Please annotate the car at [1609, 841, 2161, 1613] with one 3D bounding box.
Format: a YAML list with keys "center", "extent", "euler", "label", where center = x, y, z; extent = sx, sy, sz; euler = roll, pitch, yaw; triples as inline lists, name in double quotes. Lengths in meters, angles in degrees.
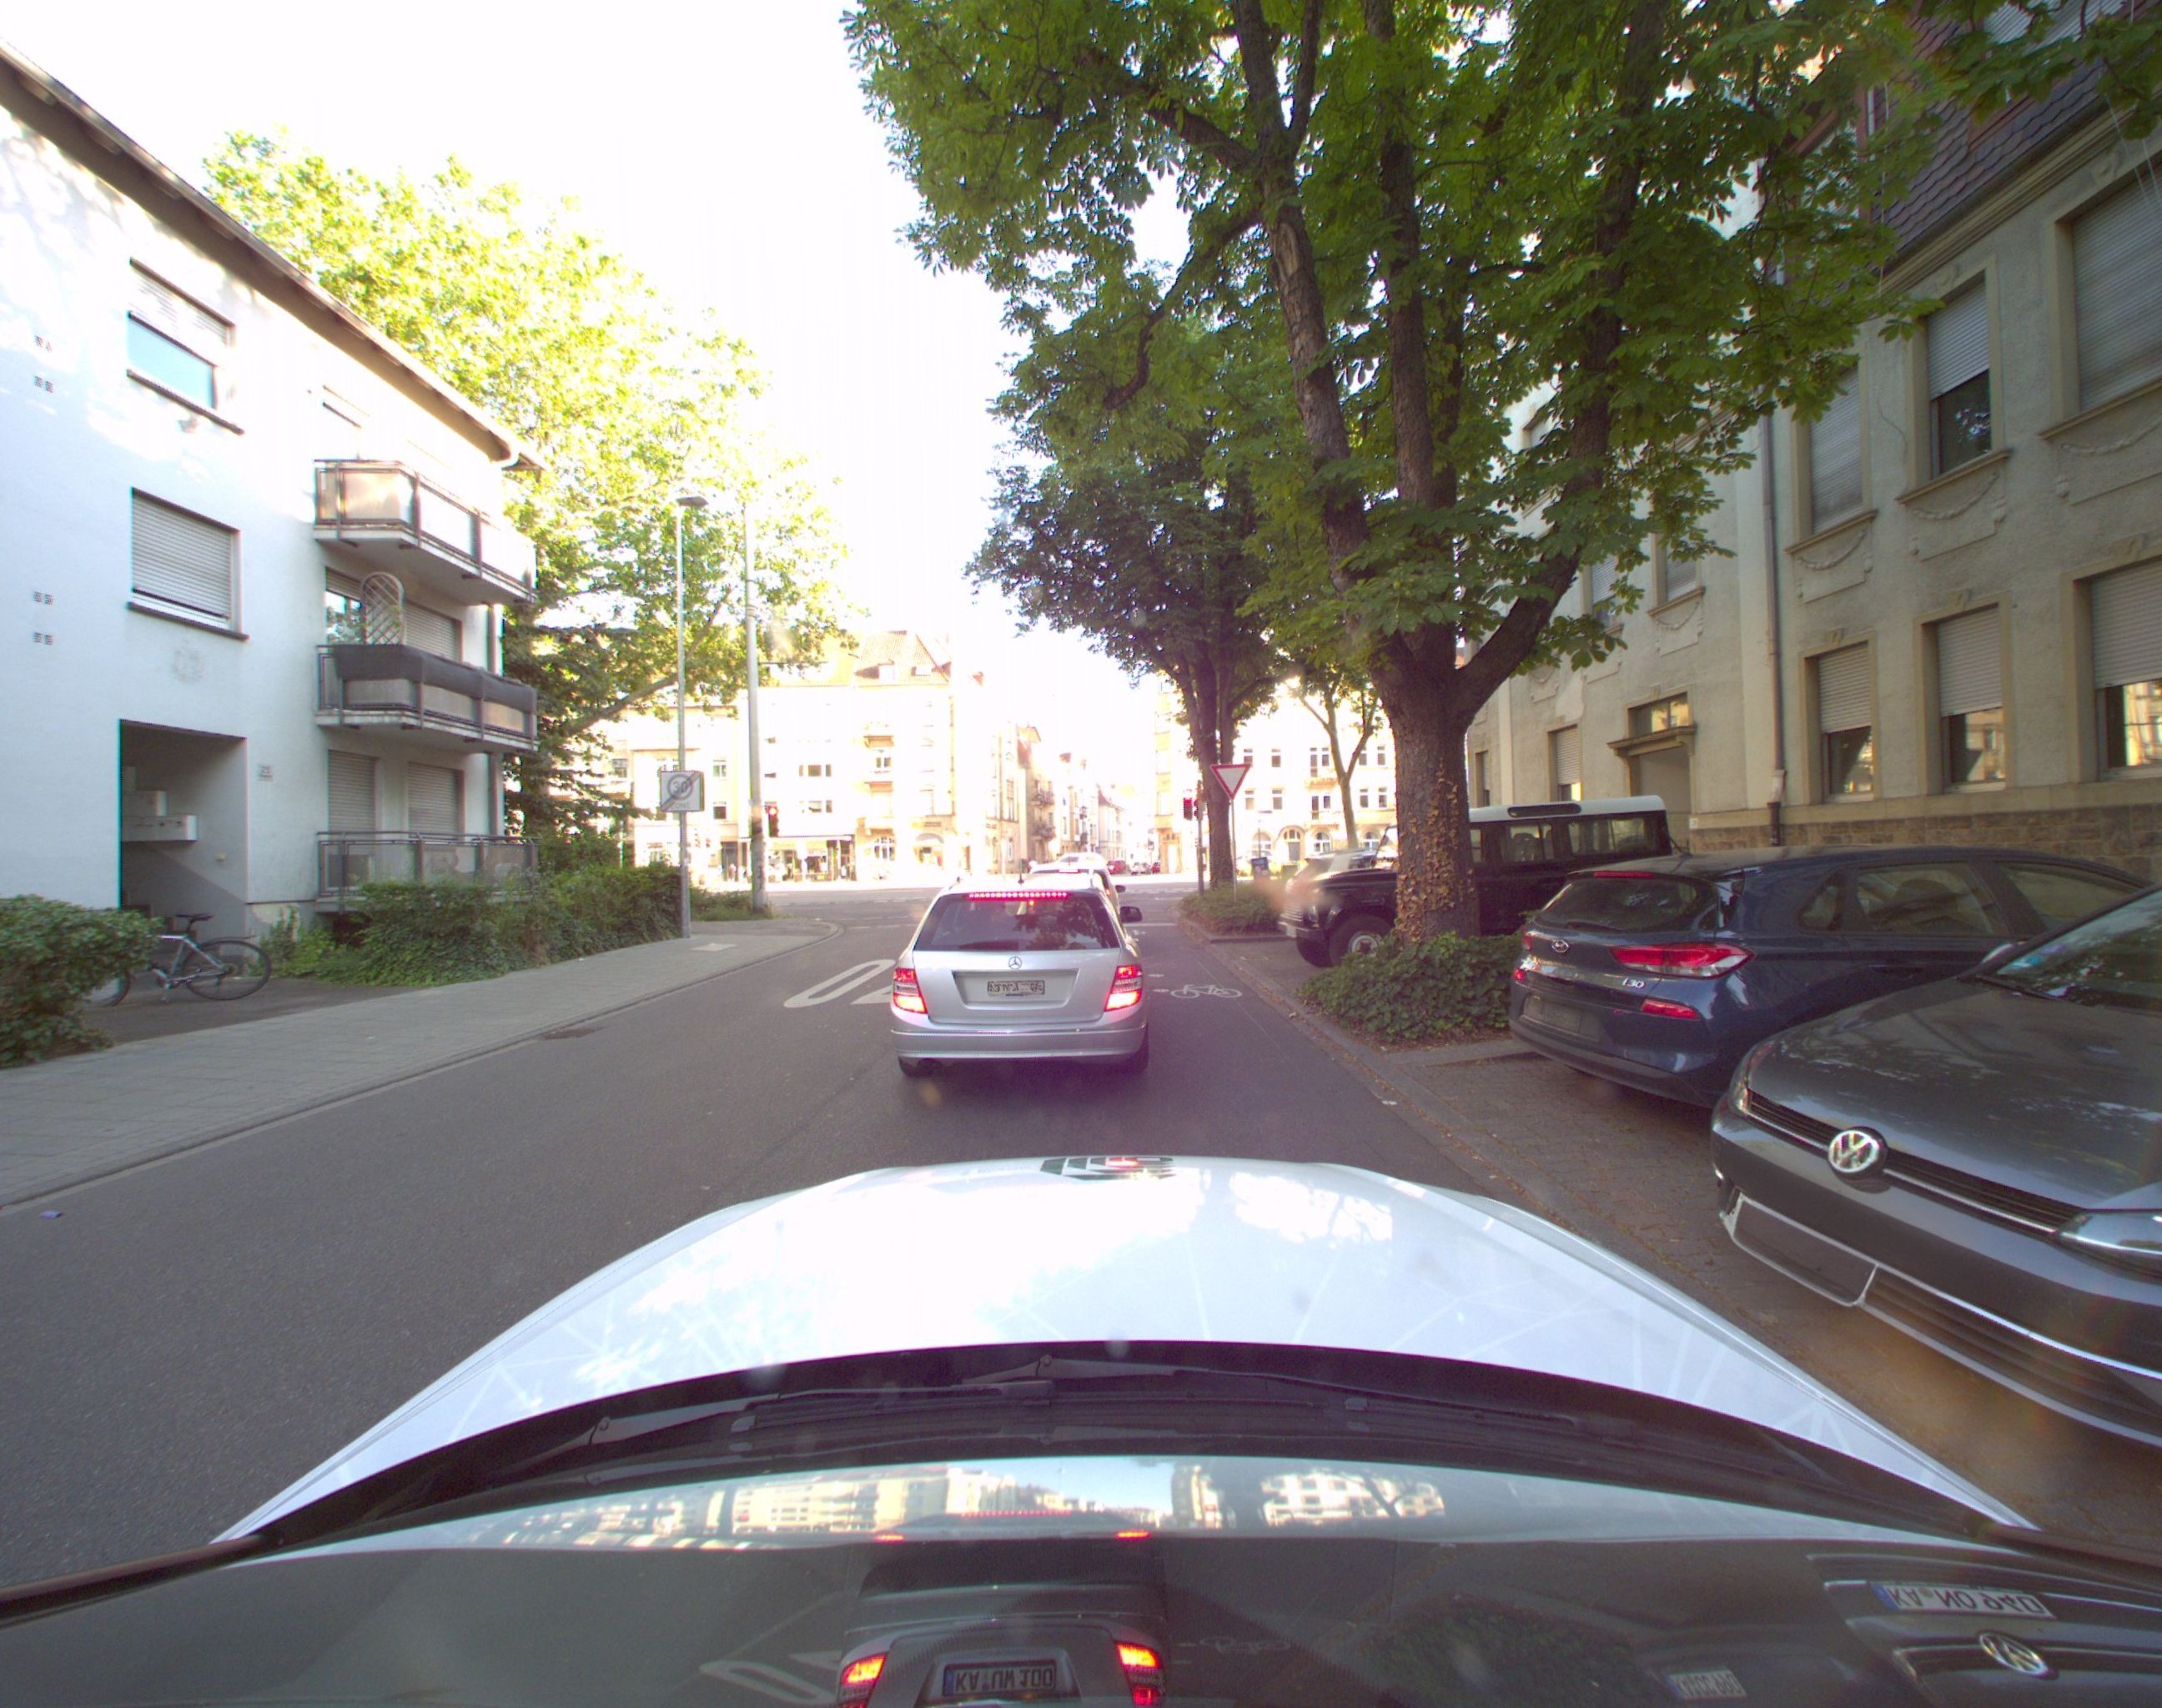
- center: [4.059, 0.656, 2.313]
  extent: [4.037, 1.422, 1.627]
  euler: [-3, -1, -2]
  label: "car"

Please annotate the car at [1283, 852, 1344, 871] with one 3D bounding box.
- center: [14.145, 0.460, 49.670]
  extent: [3.352, 1.069, 1.380]
  euler: [-2, 0, 0]
  label: "car"

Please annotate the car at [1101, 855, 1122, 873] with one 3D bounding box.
- center: [3.641, 1.138, 95.955]
  extent: [1.926, 1.958, 4.161]
  euler: [-2, 0, 10]
  label: "car"

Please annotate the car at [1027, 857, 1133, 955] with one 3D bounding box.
- center: [-0.005, 0.775, 13.778]
  extent: [1.528, 1.391, 3.599]
  euler: [-1, 0, 0]
  label: "car"

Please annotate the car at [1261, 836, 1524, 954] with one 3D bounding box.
- center: [4.859, 0.609, 12.995]
  extent: [3.475, 1.586, 1.708]
  euler: [-3, 0, -5]
  label: "car"

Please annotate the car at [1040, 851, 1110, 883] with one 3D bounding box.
- center: [-0.258, 0.649, 42.297]
  extent: [1.764, 1.461, 4.326]
  euler: [-1, 1, 28]
  label: "car"

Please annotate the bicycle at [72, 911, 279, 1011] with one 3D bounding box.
- center: [-10.012, 1.154, 9.076]
  extent: [1.469, 0.975, 0.402]
  euler: [1, -2, -38]
  label: "bicycle"

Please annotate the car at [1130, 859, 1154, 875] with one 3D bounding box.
- center: [6.457, 1.310, 85.873]
  extent: [1.708, 1.478, 4.016]
  euler: [-3, 0, 14]
  label: "car"

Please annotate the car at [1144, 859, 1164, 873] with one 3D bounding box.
- center: [9.168, 1.453, 102.037]
  extent: [1.709, 1.478, 4.016]
  euler: [-6, -1, 14]
  label: "car"

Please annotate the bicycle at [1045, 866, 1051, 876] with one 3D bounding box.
- center: [-2.976, 1.557, 73.563]
  extent: [0.567, 0.834, 1.565]
  euler: [-2, 0, -1]
  label: "bicycle"

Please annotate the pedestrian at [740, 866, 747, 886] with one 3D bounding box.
- center: [-26.840, 1.751, 64.737]
  extent: [0.474, 1.511, 0.428]
  euler: [-1, 0, -18]
  label: "pedestrian"

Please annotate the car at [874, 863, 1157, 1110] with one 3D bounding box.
- center: [-0.406, 0.803, 6.610]
  extent: [1.685, 1.429, 3.491]
  euler: [0, 0, -1]
  label: "car"

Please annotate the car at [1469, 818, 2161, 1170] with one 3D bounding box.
- center: [4.435, 0.606, 4.517]
  extent: [3.739, 1.422, 1.627]
  euler: [-3, -1, -2]
  label: "car"

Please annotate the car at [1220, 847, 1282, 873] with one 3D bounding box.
- center: [10.706, 0.386, 51.396]
  extent: [3.567, 1.501, 1.621]
  euler: [-2, 1, 1]
  label: "car"

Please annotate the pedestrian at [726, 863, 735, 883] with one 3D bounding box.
- center: [-27.488, 1.508, 63.799]
  extent: [0.566, 1.511, 0.499]
  euler: [-1, 0, -17]
  label: "pedestrian"

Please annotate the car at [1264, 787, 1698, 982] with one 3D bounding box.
- center: [4.785, 0.343, 10.189]
  extent: [4.478, 1.956, 1.792]
  euler: [-3, 0, -1]
  label: "car"

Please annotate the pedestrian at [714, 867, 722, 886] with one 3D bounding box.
- center: [-29.001, 1.779, 65.040]
  extent: [0.511, 1.511, 0.532]
  euler: [-1, 0, -26]
  label: "pedestrian"

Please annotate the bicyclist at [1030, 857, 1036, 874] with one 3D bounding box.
- center: [-4.307, 1.070, 73.685]
  extent: [0.465, 1.514, 0.655]
  euler: [-1, 0, -2]
  label: "bicyclist"

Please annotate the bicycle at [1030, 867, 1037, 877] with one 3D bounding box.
- center: [-4.311, 1.601, 73.831]
  extent: [0.567, 0.834, 1.565]
  euler: [-2, 0, -1]
  label: "bicycle"

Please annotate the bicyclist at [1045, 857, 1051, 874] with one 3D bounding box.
- center: [-2.983, 1.033, 73.670]
  extent: [0.465, 1.521, 0.693]
  euler: [-1, 0, -2]
  label: "bicyclist"
